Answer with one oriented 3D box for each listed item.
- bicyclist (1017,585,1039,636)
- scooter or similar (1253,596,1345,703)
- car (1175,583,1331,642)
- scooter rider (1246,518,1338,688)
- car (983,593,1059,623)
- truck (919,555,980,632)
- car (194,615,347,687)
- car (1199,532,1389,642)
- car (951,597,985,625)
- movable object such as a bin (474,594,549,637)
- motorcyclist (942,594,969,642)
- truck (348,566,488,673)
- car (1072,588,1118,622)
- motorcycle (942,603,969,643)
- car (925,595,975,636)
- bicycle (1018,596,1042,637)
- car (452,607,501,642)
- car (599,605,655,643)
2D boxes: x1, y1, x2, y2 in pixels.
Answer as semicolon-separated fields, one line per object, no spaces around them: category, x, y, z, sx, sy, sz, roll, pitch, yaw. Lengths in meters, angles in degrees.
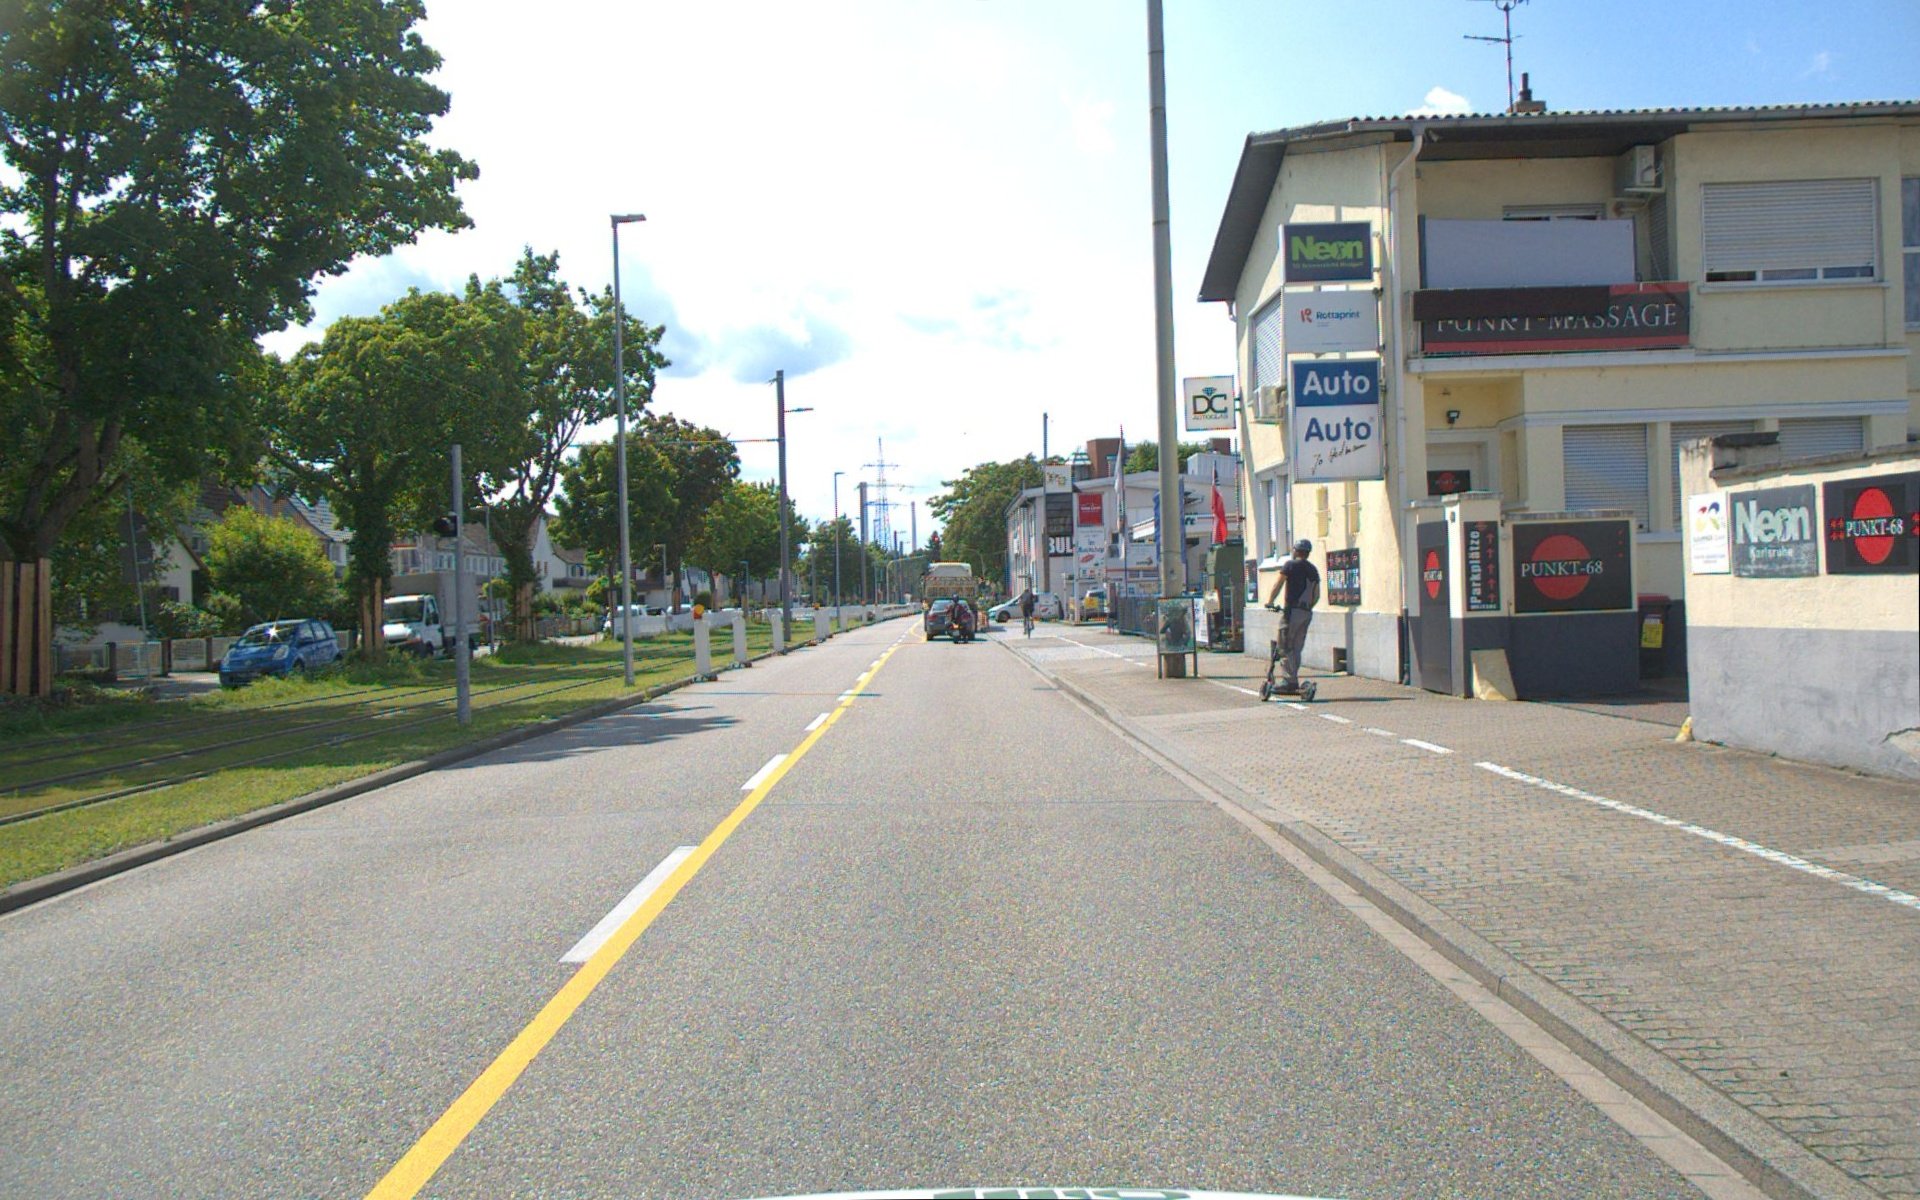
bicyclist;2.409;0.367;58.592;0.657;1.774;0.813;-2;0;-1
scooter or similar;4.113;0.592;20.176;0.530;1.216;1.608;-4;-1;-8
car;8.093;0.341;45.975;4.095;1.456;1.821;-2;-1;6
scooter rider;4.080;0.039;20.363;0.704;1.996;0.783;-5;0;-10
car;3.656;0.462;99.766;4.250;1.579;1.946;-3;-1;-9
truck;-0.457;-0.365;78.415;2.557;3.312;9.182;-3;1;0
car;-15.909;1.143;38.393;1.954;1.478;3.998;-3;-1;-2
car;8.611;-0.311;43.000;4.443;2.618;2.151;-2;-1;1
car;0.426;0.575;91.459;1.784;1.489;4.000;-1;0;0
movable object such as a bin;-27.826;0.969;102.606;4.277;2.492;1.776;-2;0;-23
motorcyclist;-0.171;0.630;57.601;0.920;1.643;1.204;0;-1;-1
truck;-16.055;0.534;49.392;1.953;2.815;6.275;-5;0;-1
car;7.268;0.274;89.140;1.920;1.677;3.998;-3;-1;-3
motorcycle;-0.176;0.787;57.781;0.920;1.343;2.644;0;0;-1
car;-0.388;0.577;62.254;1.784;1.449;3.999;-1;0;-1
bicycle;2.461;0.564;58.586;0.679;1.385;2.418;-2;0;-1
car;-25.578;1.303;87.543;1.650;1.752;3.029;-3;-1;-1
car;-16.707;1.197;83.190;1.953;1.780;3.999;-3;-1;-1
